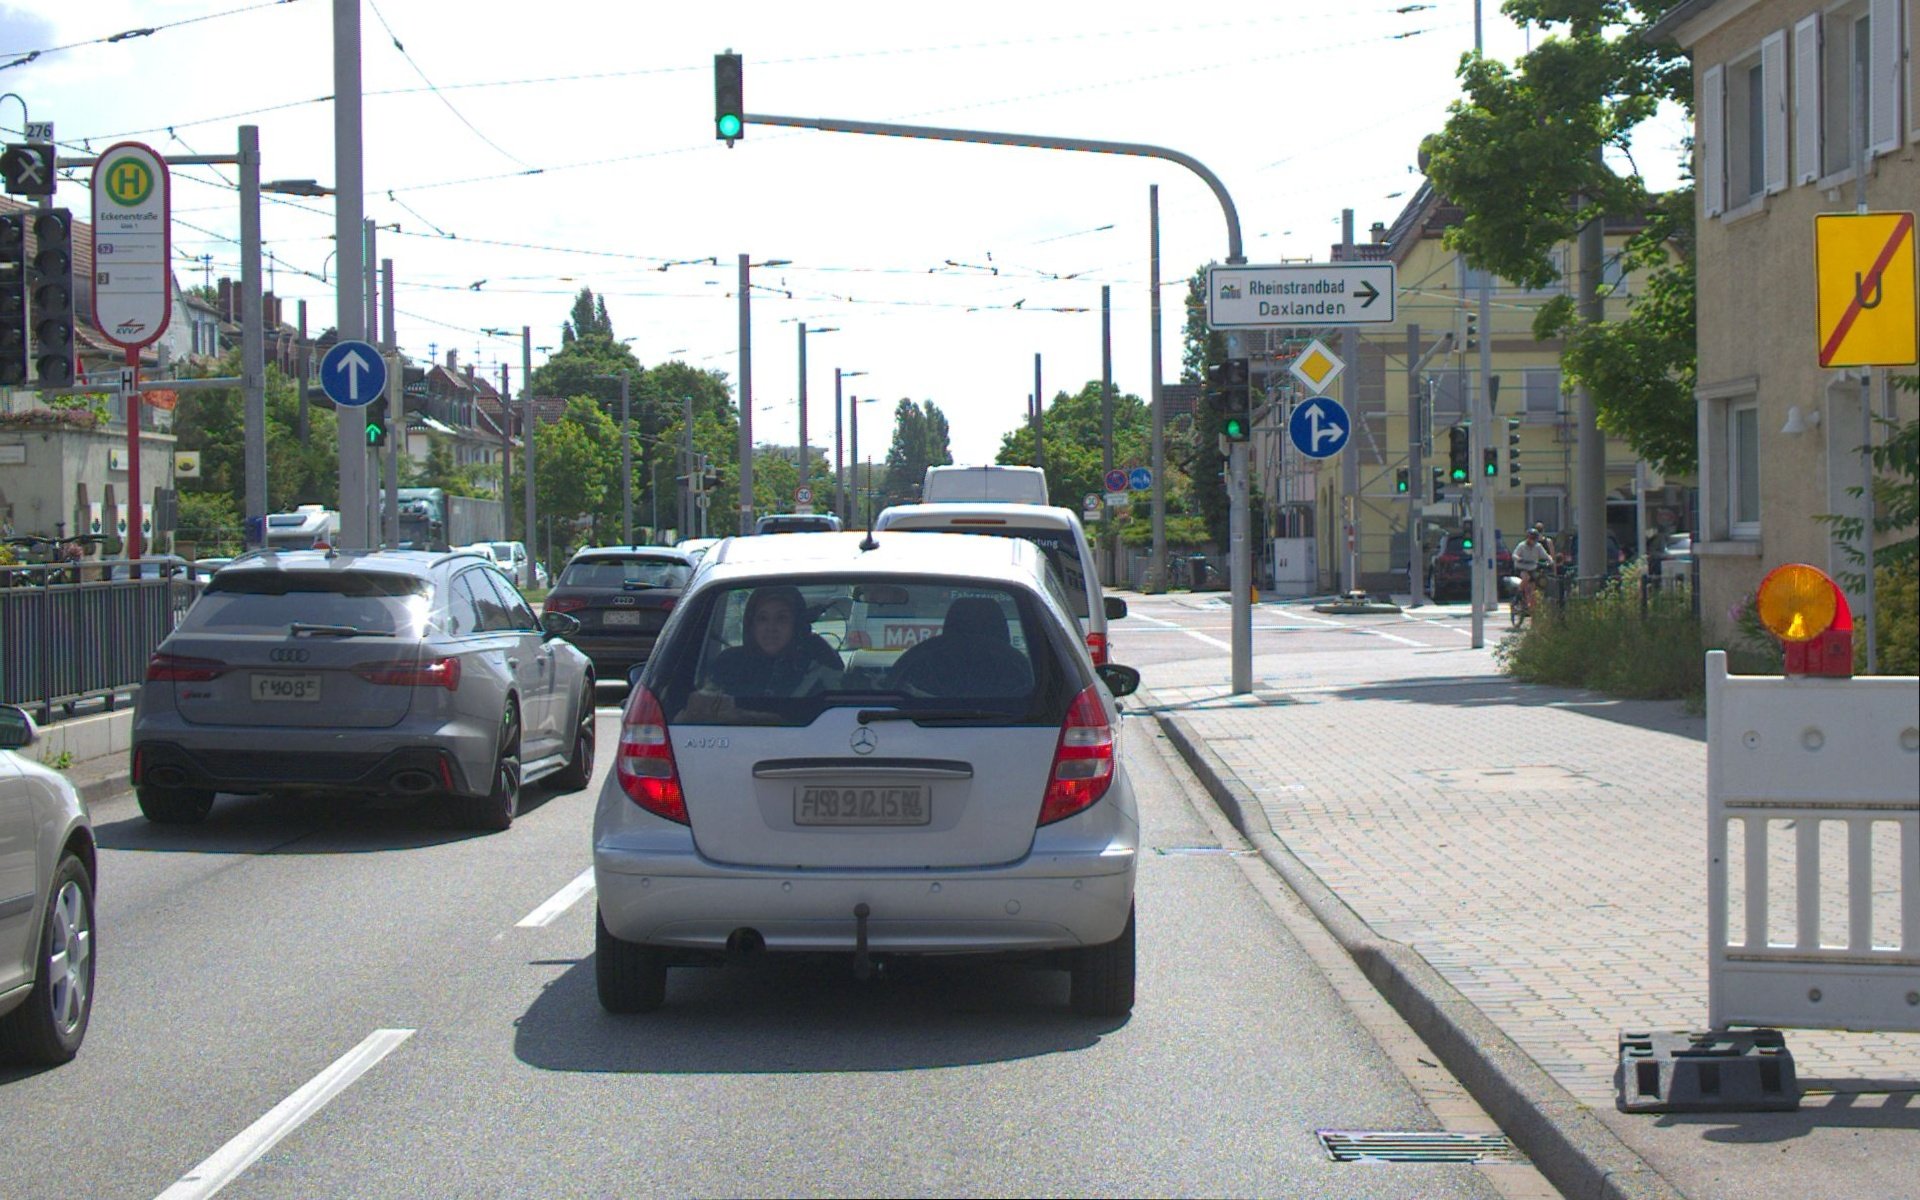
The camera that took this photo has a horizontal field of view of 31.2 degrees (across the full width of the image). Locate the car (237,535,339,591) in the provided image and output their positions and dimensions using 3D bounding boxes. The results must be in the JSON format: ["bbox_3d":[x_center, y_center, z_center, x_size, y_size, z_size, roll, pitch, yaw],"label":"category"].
[{"bbox_3d":[-16.957,-0.929,86.952,1.684,1.347,4.178,1,0,1],"label":"car"}]

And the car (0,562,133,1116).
[{"bbox_3d":[-3.352,0.615,8.274,1.731,1.444,4.123,1,0,0],"label":"car"}]

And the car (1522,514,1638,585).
[{"bbox_3d":[14.537,-1.175,80.798,1.993,1.590,4.131,1,0,1],"label":"car"}]

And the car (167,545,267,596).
[{"bbox_3d":[-20.207,-0.798,93.618,1.684,1.347,4.345,1,0,1],"label":"car"}]

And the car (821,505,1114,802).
[{"bbox_3d":[-0.015,0.305,22.618,1.730,1.756,4.017,1,0,-2],"label":"car"}]

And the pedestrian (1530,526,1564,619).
[{"bbox_3d":[10.436,-0.494,61.104,0.547,1.638,0.401,1,0,5],"label":"pedestrian"}]

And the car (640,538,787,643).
[{"bbox_3d":[-3.425,-0.144,48.313,1.852,1.383,3.919,1,0,-1],"label":"car"}]

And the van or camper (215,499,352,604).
[{"bbox_3d":[-19.864,-1.444,101.300,2.324,2.920,7.754,-1,1,1],"label":"van or camper"}]

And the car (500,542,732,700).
[{"bbox_3d":[-3.240,0.172,33.125,1.852,1.383,4.514,1,0,-1],"label":"car"}]

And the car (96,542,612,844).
[{"bbox_3d":[-3.252,0.435,19.398,1.916,1.472,4.562,1,1,2],"label":"car"}]

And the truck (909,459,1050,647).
[{"bbox_3d":[0.218,-0.664,49.777,1.852,2.543,5.855,1,0,-1],"label":"truck"}]

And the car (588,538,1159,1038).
[{"bbox_3d":[-0.327,0.564,12.569,1.730,1.512,4.017,1,0,-2],"label":"car"}]

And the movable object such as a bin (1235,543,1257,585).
[{"bbox_3d":[7.606,-0.963,91.439,0.511,1.101,0.855,0,0,1],"label":"movable object such as a bin"}]

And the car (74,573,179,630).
[{"bbox_3d":[-20.826,0.020,86.032,1.684,1.347,4.345,1,0,-2],"label":"car"}]

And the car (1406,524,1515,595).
[{"bbox_3d":[11.706,-0.934,80.658,1.993,1.590,4.131,1,0,1],"label":"car"}]

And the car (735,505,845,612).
[{"bbox_3d":[-3.037,-0.736,62.050,1.852,1.837,3.919,1,0,-1],"label":"car"}]

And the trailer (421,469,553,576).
[{"bbox_3d":[-18.196,-3.047,133.124,2.599,3.808,12.836,-3,2,3],"label":"trailer"}]

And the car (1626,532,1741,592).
[{"bbox_3d":[16.983,-0.890,80.865,1.867,1.347,4.131,1,0,1],"label":"car"}]
